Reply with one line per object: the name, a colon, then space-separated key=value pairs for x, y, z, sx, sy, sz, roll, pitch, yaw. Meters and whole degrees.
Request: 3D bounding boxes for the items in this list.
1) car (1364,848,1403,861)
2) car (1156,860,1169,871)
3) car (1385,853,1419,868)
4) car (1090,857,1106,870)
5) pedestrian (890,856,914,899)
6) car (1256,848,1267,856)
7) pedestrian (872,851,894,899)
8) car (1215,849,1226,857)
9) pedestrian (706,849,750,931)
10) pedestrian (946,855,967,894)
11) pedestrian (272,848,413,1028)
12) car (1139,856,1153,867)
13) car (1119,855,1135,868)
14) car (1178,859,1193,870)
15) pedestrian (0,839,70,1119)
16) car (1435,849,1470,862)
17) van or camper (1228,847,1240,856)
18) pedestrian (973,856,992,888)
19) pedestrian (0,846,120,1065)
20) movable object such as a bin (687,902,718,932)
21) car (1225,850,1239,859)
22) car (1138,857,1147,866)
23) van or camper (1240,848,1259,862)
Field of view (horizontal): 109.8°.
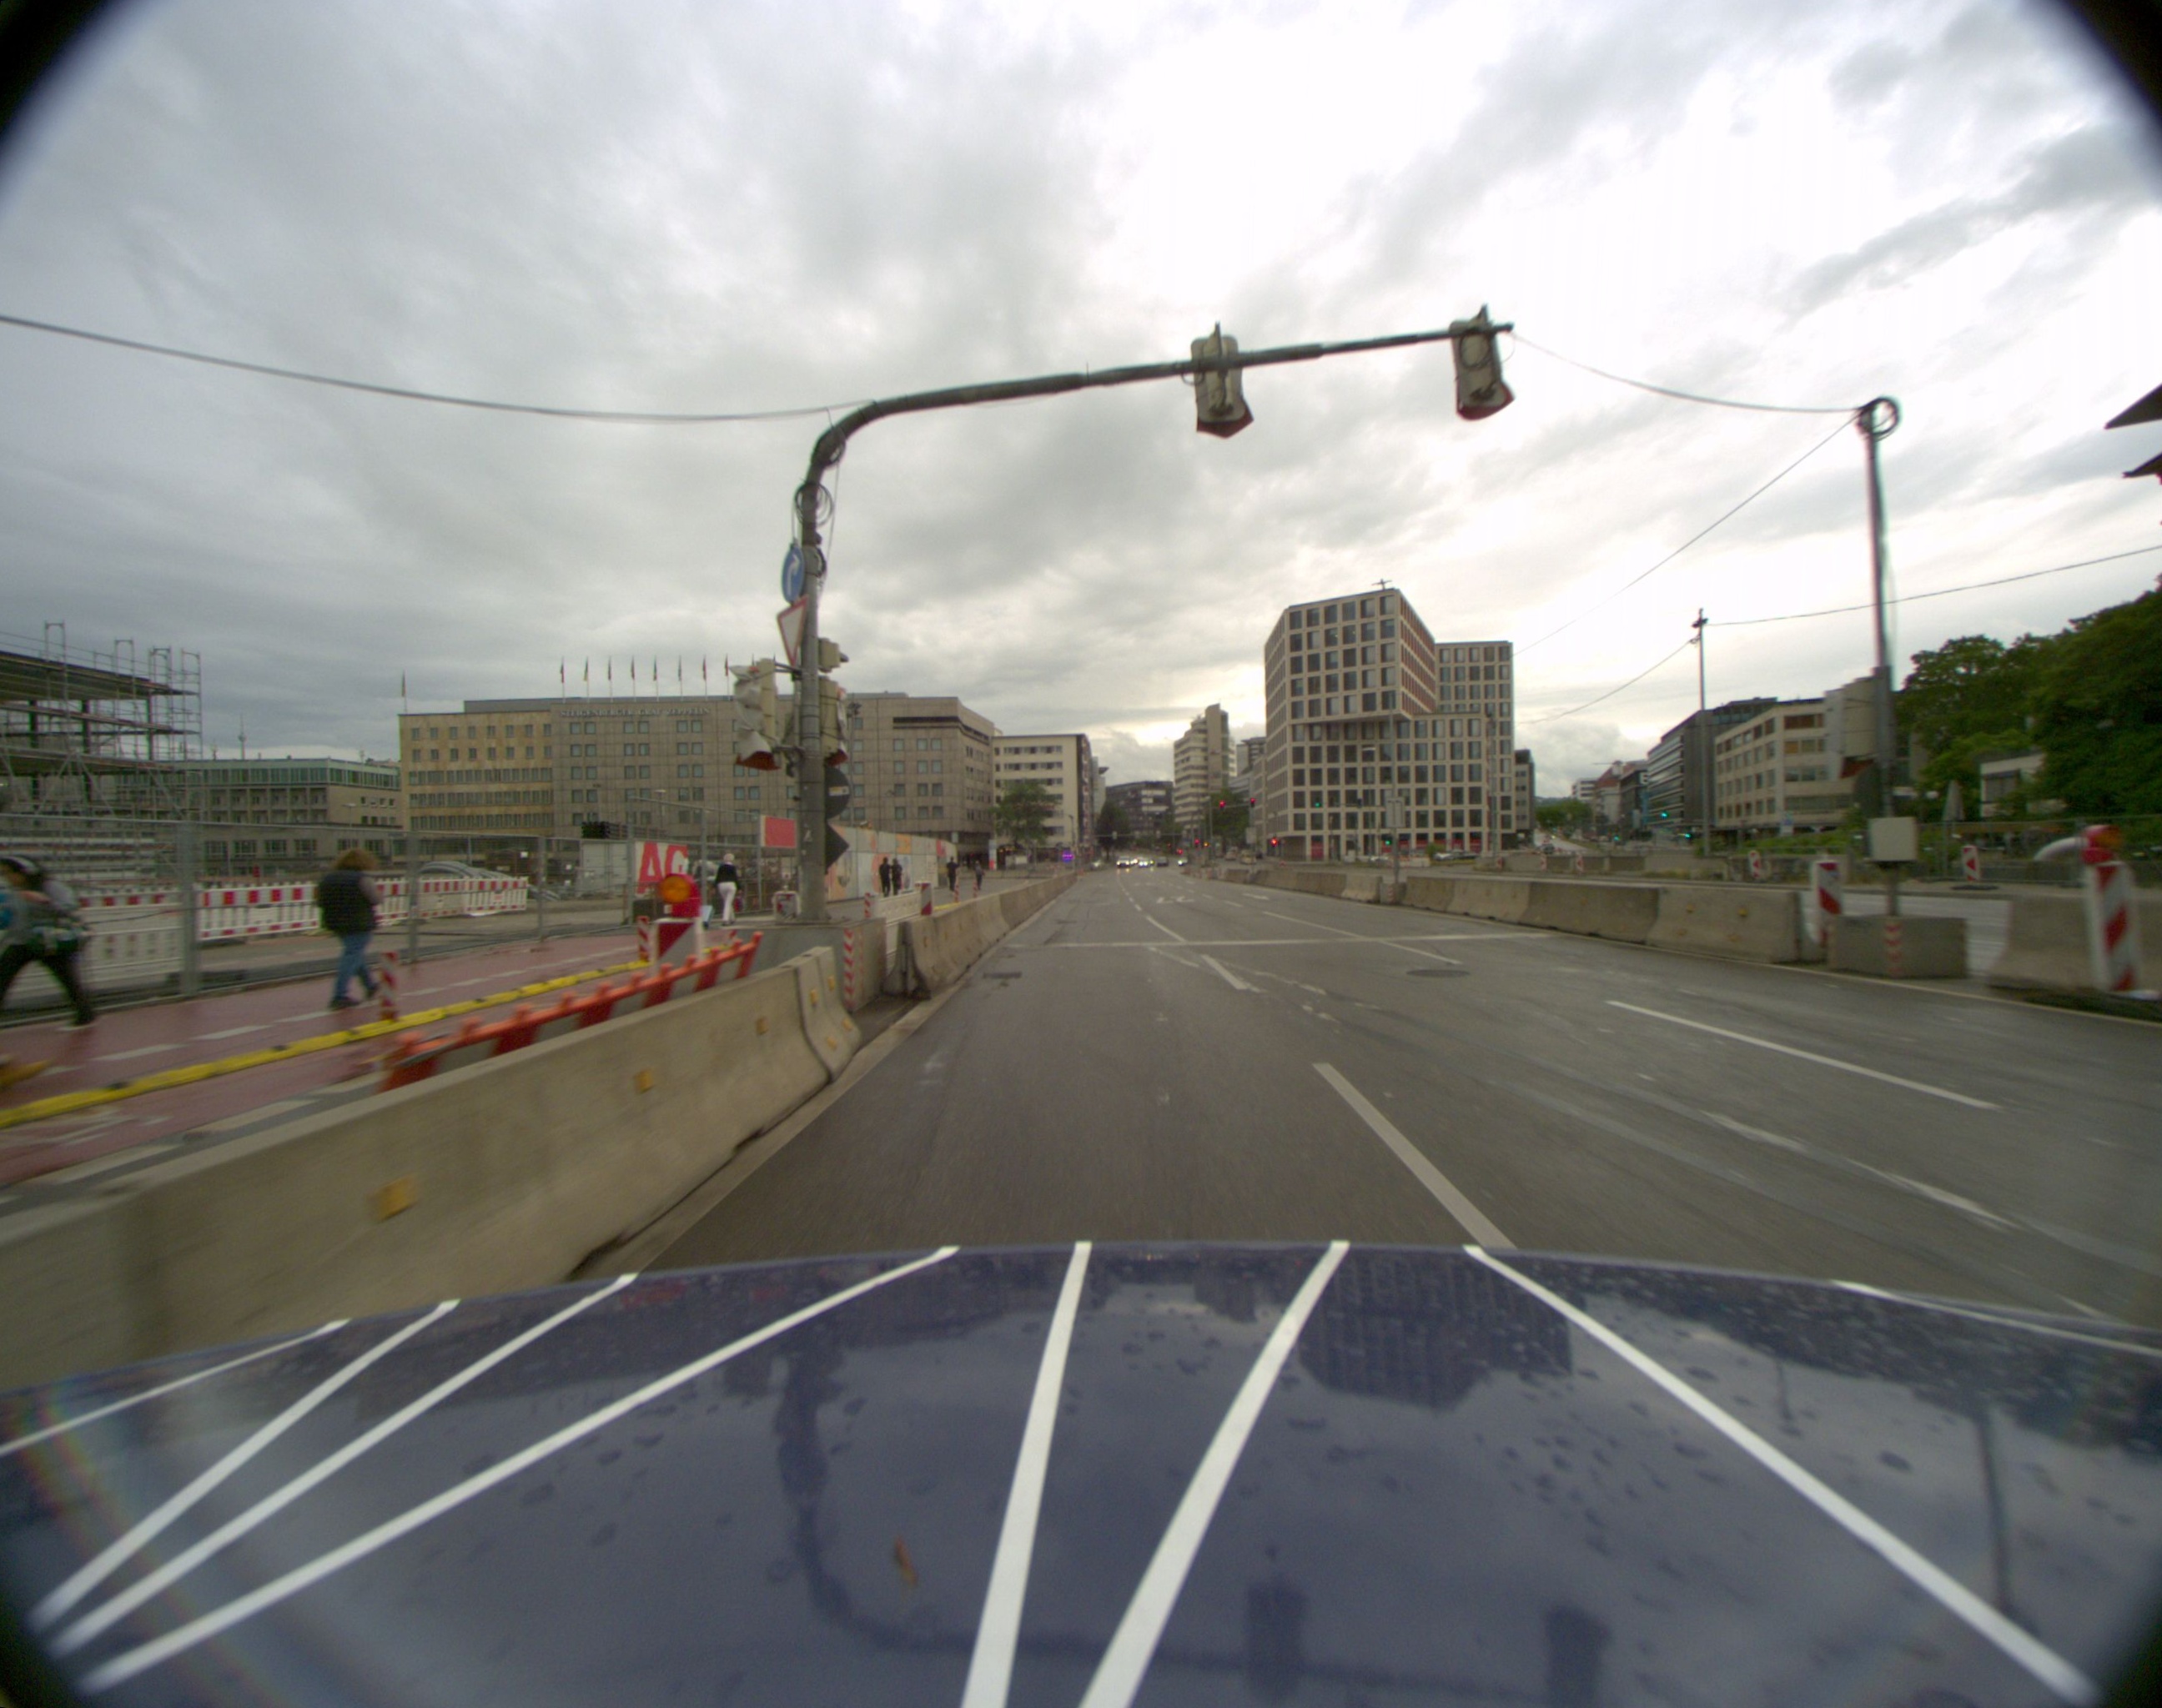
car: x=43.892 y=0.031 z=110.243 sx=4.808 sy=1.743 sz=2.229 roll=-2 pitch=0 yaw=1
car: x=13.354 y=1.920 z=123.792 sx=2.016 sy=1.589 sz=4.665 roll=-2 pitch=1 yaw=6
car: x=44.629 y=0.934 z=105.793 sx=3.994 sy=1.805 sz=1.806 roll=-2 pitch=1 yaw=8
car: x=2.859 y=1.536 z=124.481 sx=1.921 sy=2.002 sz=4.003 roll=-2 pitch=0 yaw=10
pedestrian: x=-7.628 y=0.995 z=32.438 sx=0.798 sy=1.823 sz=0.626 roll=-2 pitch=1 yaw=3
car: x=36.633 y=-0.336 z=154.212 sx=1.864 sy=1.514 sz=4.003 roll=-2 pitch=0 yaw=11
pedestrian: x=-8.434 y=0.902 z=32.330 sx=0.681 sy=2.001 sz=0.687 roll=-1 pitch=-1 yaw=2
car: x=31.345 y=-0.185 z=170.850 sx=1.850 sy=1.589 sz=4.180 roll=-2 pitch=1 yaw=1
pedestrian: x=-8.239 y=0.830 z=17.735 sx=0.666 sy=1.851 sz=0.683 roll=-2 pitch=0 yaw=-3
pedestrian: x=-6.103 y=0.999 z=37.192 sx=0.798 sy=1.867 sz=0.820 roll=-2 pitch=1 yaw=3
pedestrian: x=-8.050 y=0.875 z=8.323 sx=0.691 sy=1.851 sz=0.811 roll=-2 pitch=0 yaw=-3
car: x=10.636 y=1.171 z=124.263 sx=2.016 sy=1.728 sz=4.666 roll=-2 pitch=0 yaw=6
car: x=7.596 y=1.204 z=125.849 sx=2.084 sy=1.893 sz=5.088 roll=-2 pitch=1 yaw=9
car: x=17.067 y=1.649 z=123.983 sx=2.015 sy=1.589 sz=4.667 roll=-2 pitch=1 yaw=11
pedestrian: x=-7.552 y=0.839 z=4.875 sx=0.781 sy=1.851 sz=0.949 roll=-2 pitch=0 yaw=-3
car: x=52.556 y=0.256 z=107.605 sx=4.132 sy=1.706 sz=1.855 roll=-2 pitch=0 yaw=-12
van or camper: x=35.303 y=-0.602 z=174.981 sx=1.850 sy=1.967 sz=4.256 roll=-2 pitch=1 yaw=1
pedestrian: x=-5.694 y=1.036 z=43.991 sx=0.927 sy=1.823 sz=0.686 roll=-2 pitch=1 yaw=3
pedestrian: x=-9.420 y=0.875 z=6.761 sx=0.789 sy=1.851 sz=0.683 roll=-2 pitch=0 yaw=-3
movable object such as a bin: x=-8.547 y=1.426 z=17.176 sx=0.434 sy=0.621 sz=0.534 roll=-2 pitch=0 yaw=-3
car: x=29.912 y=0.007 z=150.745 sx=1.846 sy=1.664 sz=4.380 roll=-2 pitch=1 yaw=2
car: x=12.136 y=1.479 z=150.459 sx=1.670 sy=1.475 sz=3.487 roll=-2 pitch=0 yaw=6
van or camper: x=27.865 y=0.168 z=125.506 sx=2.244 sy=2.042 sz=5.609 roll=-2 pitch=1 yaw=4
